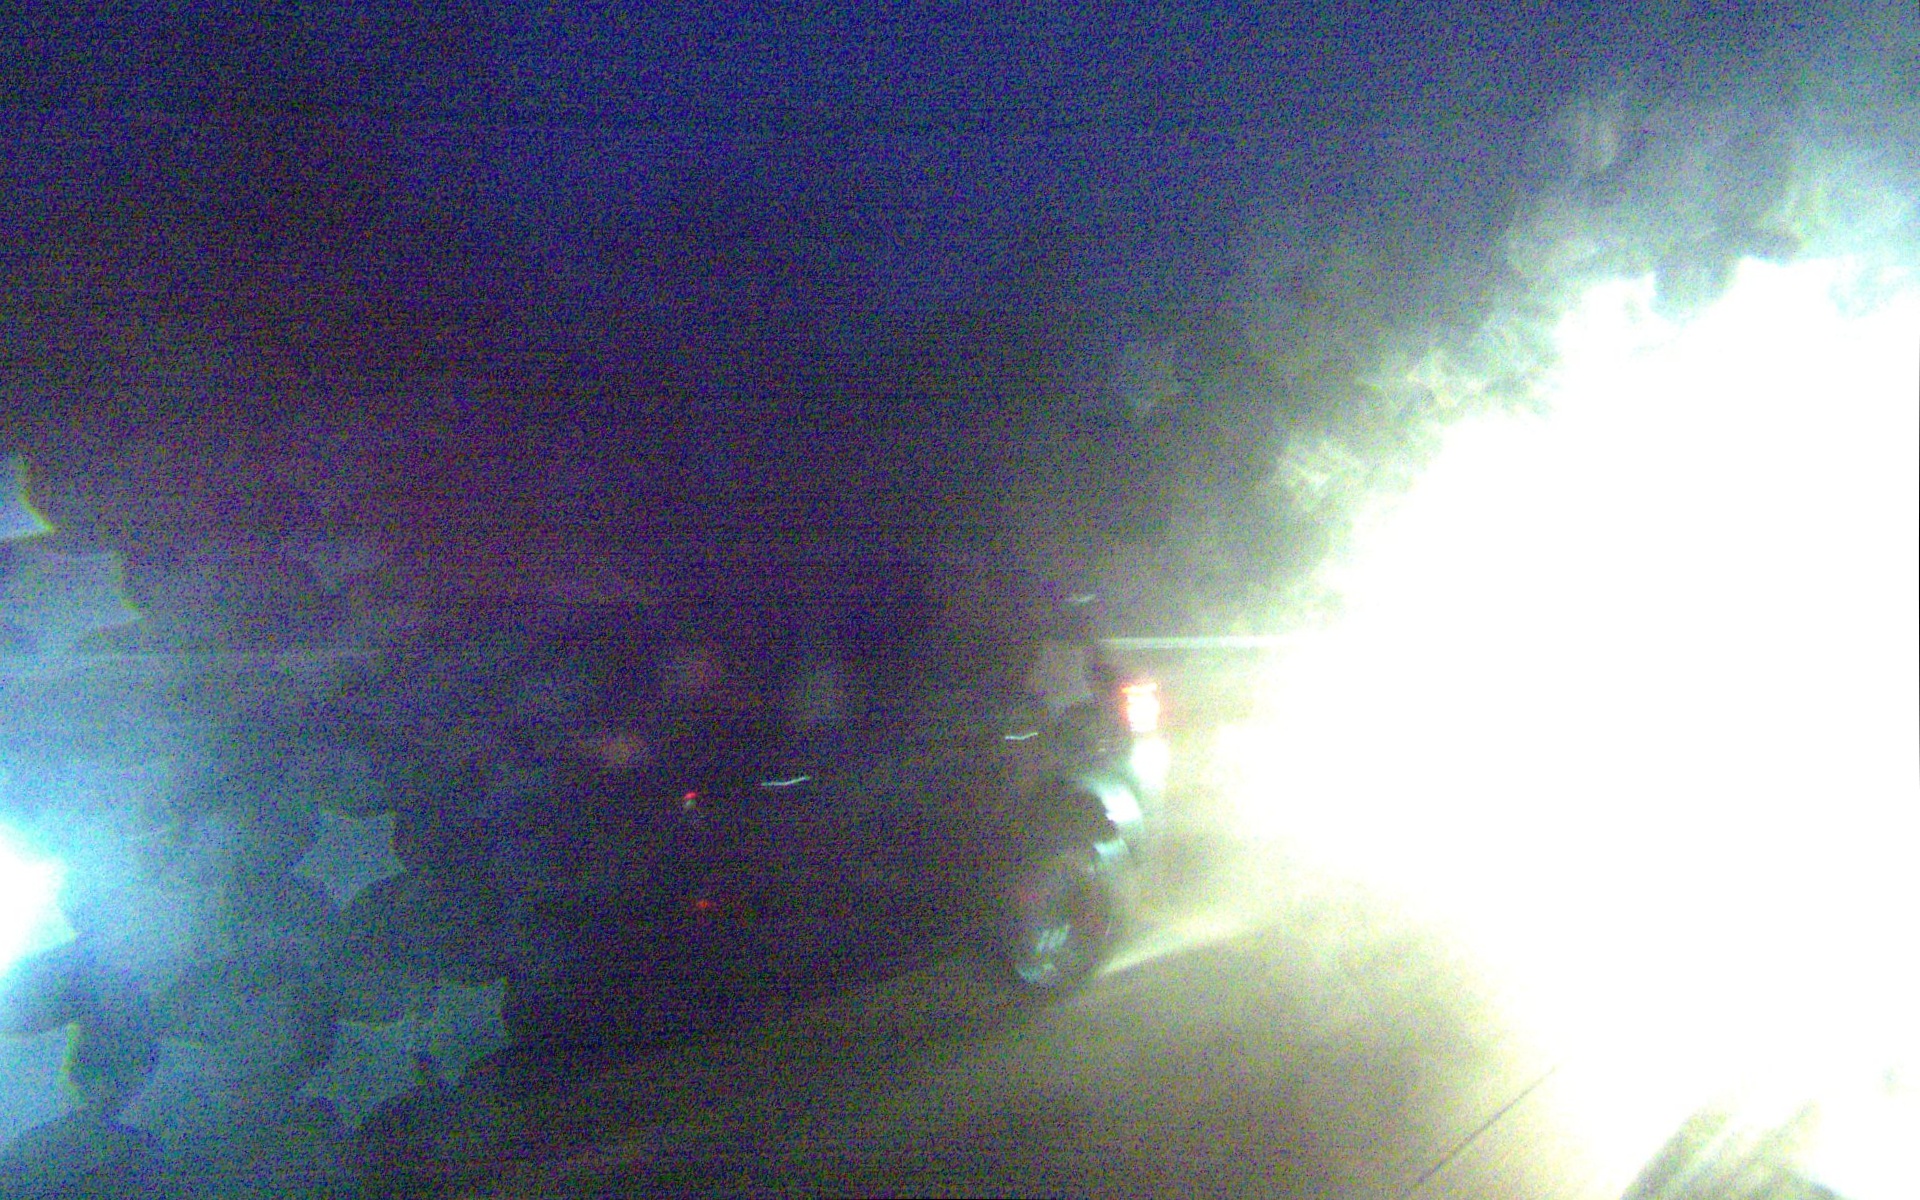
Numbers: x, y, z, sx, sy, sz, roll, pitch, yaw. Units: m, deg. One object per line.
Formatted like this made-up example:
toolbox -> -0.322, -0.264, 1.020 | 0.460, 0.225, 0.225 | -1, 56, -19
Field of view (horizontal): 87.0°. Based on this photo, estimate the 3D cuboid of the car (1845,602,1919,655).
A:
car -> 38.311, 1.130, 41.801 | 3.928, 2.039, 1.998 | 0, 0, -39

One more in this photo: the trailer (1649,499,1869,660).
trailer -> 24.721, -0.566, 30.841 | 13.579, 4.029, 2.743 | -1, -1, -41

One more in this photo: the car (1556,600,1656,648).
car -> 23.281, 0.831, 36.423 | 4.045, 1.610, 1.917 | -1, -1, -41

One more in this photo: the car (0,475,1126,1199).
car -> -1.306, 0.611, 3.342 | 3.616, 1.645, 1.845 | 0, -1, -43

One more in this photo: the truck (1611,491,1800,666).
truck -> 19.228, -0.498, 26.024 | 5.108, 4.020, 2.779 | -1, -1, -41
